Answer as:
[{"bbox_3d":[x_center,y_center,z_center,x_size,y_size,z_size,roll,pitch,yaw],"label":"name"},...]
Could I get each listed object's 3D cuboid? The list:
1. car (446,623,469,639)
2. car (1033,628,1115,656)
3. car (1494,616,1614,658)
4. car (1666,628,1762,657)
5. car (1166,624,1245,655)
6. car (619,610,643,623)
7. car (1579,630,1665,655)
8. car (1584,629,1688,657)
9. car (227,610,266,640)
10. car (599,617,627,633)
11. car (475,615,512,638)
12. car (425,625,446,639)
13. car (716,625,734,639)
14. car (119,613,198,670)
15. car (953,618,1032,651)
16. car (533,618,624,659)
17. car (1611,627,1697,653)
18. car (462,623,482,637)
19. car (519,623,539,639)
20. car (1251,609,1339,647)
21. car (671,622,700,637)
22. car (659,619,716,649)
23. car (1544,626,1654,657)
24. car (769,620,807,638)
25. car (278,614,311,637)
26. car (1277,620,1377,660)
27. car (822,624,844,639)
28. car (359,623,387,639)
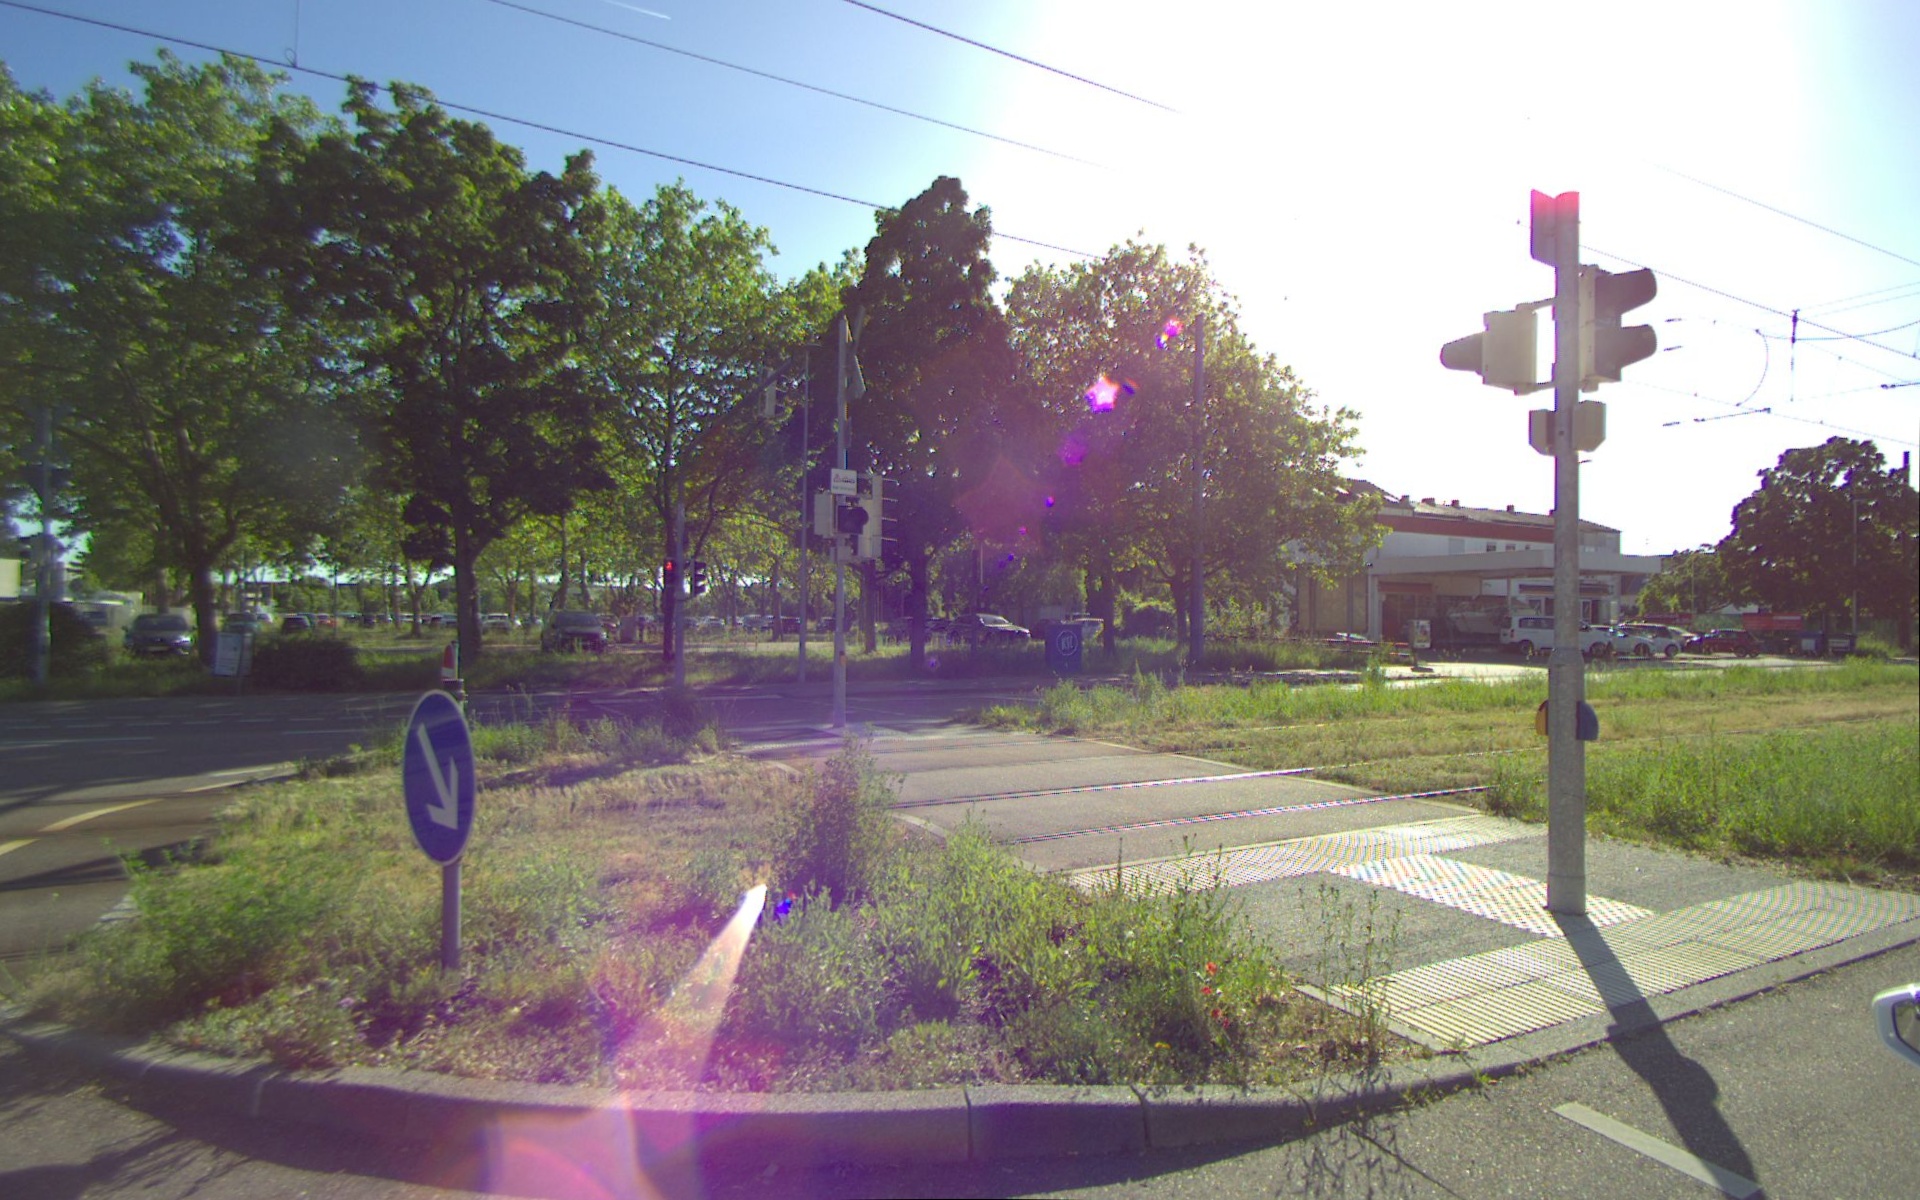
[{"bbox_3d":[-51.381,3.177,102.809,1.963,1.569,4.404,1,-2,-25],"label":"car"},{"bbox_3d":[5.169,1.884,46.098,1.648,1.182,3.943,1,-1,-32],"label":"car"},{"bbox_3d":[29.126,1.798,49.403,4.689,2.000,1.862,0,-1,9],"label":"car"},{"bbox_3d":[43.197,2.415,57.624,1.771,1.589,4.051,1,-2,-30],"label":"car"},{"bbox_3d":[13.115,2.110,53.658,4.034,1.565,1.572,1,-1,-26],"label":"car"},{"bbox_3d":[-37.310,1.857,113.950,1.648,1.451,3.942,1,-1,-33],"label":"car"},{"bbox_3d":[40.401,2.557,61.362,1.771,1.464,4.051,1,-2,-30],"label":"car"},{"bbox_3d":[36.255,2.309,53.947,4.382,1.490,1.792,0,-1,1],"label":"car"},{"bbox_3d":[-42.228,1.470,59.455,1.813,1.690,3.959,1,-1,-36],"label":"car"},{"bbox_3d":[-32.940,2.336,95.242,1.648,1.451,3.942,1,-1,-33],"label":"car"},{"bbox_3d":[-34.904,1.965,75.141,1.813,1.690,3.959,1,-1,-36],"label":"car"},{"bbox_3d":[-60.515,3.671,115.905,1.963,1.569,4.404,1,-2,-25],"label":"car"},{"bbox_3d":[-26.968,3.634,115.436,1.955,1.569,4.421,0,-2,-12],"label":"car"},{"bbox_3d":[-25.299,1.261,31.692,1.816,1.690,3.954,1,-1,-40],"label":"car"},{"bbox_3d":[1.445,1.552,45.961,1.648,1.451,3.942,1,-2,-33],"label":"car"},{"bbox_3d":[-14.045,1.387,36.856,1.859,1.400,3.952,1,-2,-41],"label":"car"},{"bbox_3d":[43.204,2.480,62.614,1.771,1.589,4.051,1,-2,-30],"label":"car"},{"bbox_3d":[-57.139,3.492,117.564,1.963,1.569,4.404,1,-2,-25],"label":"car"},{"bbox_3d":[-45.558,3.240,106.151,1.804,1.627,3.979,1,-1,-22],"label":"car"},{"bbox_3d":[19.206,1.620,57.864,1.997,2.119,4.700,1,-2,-29],"label":"car"},{"bbox_3d":[-26.962,2.862,98.661,1.648,1.451,3.942,1,-1,-33],"label":"car"},{"bbox_3d":[-13.831,1.706,50.854,1.648,1.451,3.942,1,-1,-33],"label":"car"},{"bbox_3d":[32.756,2.144,51.578,4.380,1.548,1.793,0,-1,9],"label":"car"},{"bbox_3d":[-14.831,2.489,86.280,1.828,1.451,3.942,1,-1,-33],"label":"car"},{"bbox_3d":[-49.087,1.884,74.054,1.813,1.627,3.959,1,-1,-36],"label":"car"},{"bbox_3d":[16.547,1.783,45.439,1.712,1.545,3.942,4,-2,-33],"label":"car"},{"bbox_3d":[-13.329,3.332,105.339,1.955,1.569,4.421,0,-2,-12],"label":"car"},{"bbox_3d":[-58.415,3.079,100.014,1.950,1.569,4.404,1,-2,-25],"label":"car"}]
